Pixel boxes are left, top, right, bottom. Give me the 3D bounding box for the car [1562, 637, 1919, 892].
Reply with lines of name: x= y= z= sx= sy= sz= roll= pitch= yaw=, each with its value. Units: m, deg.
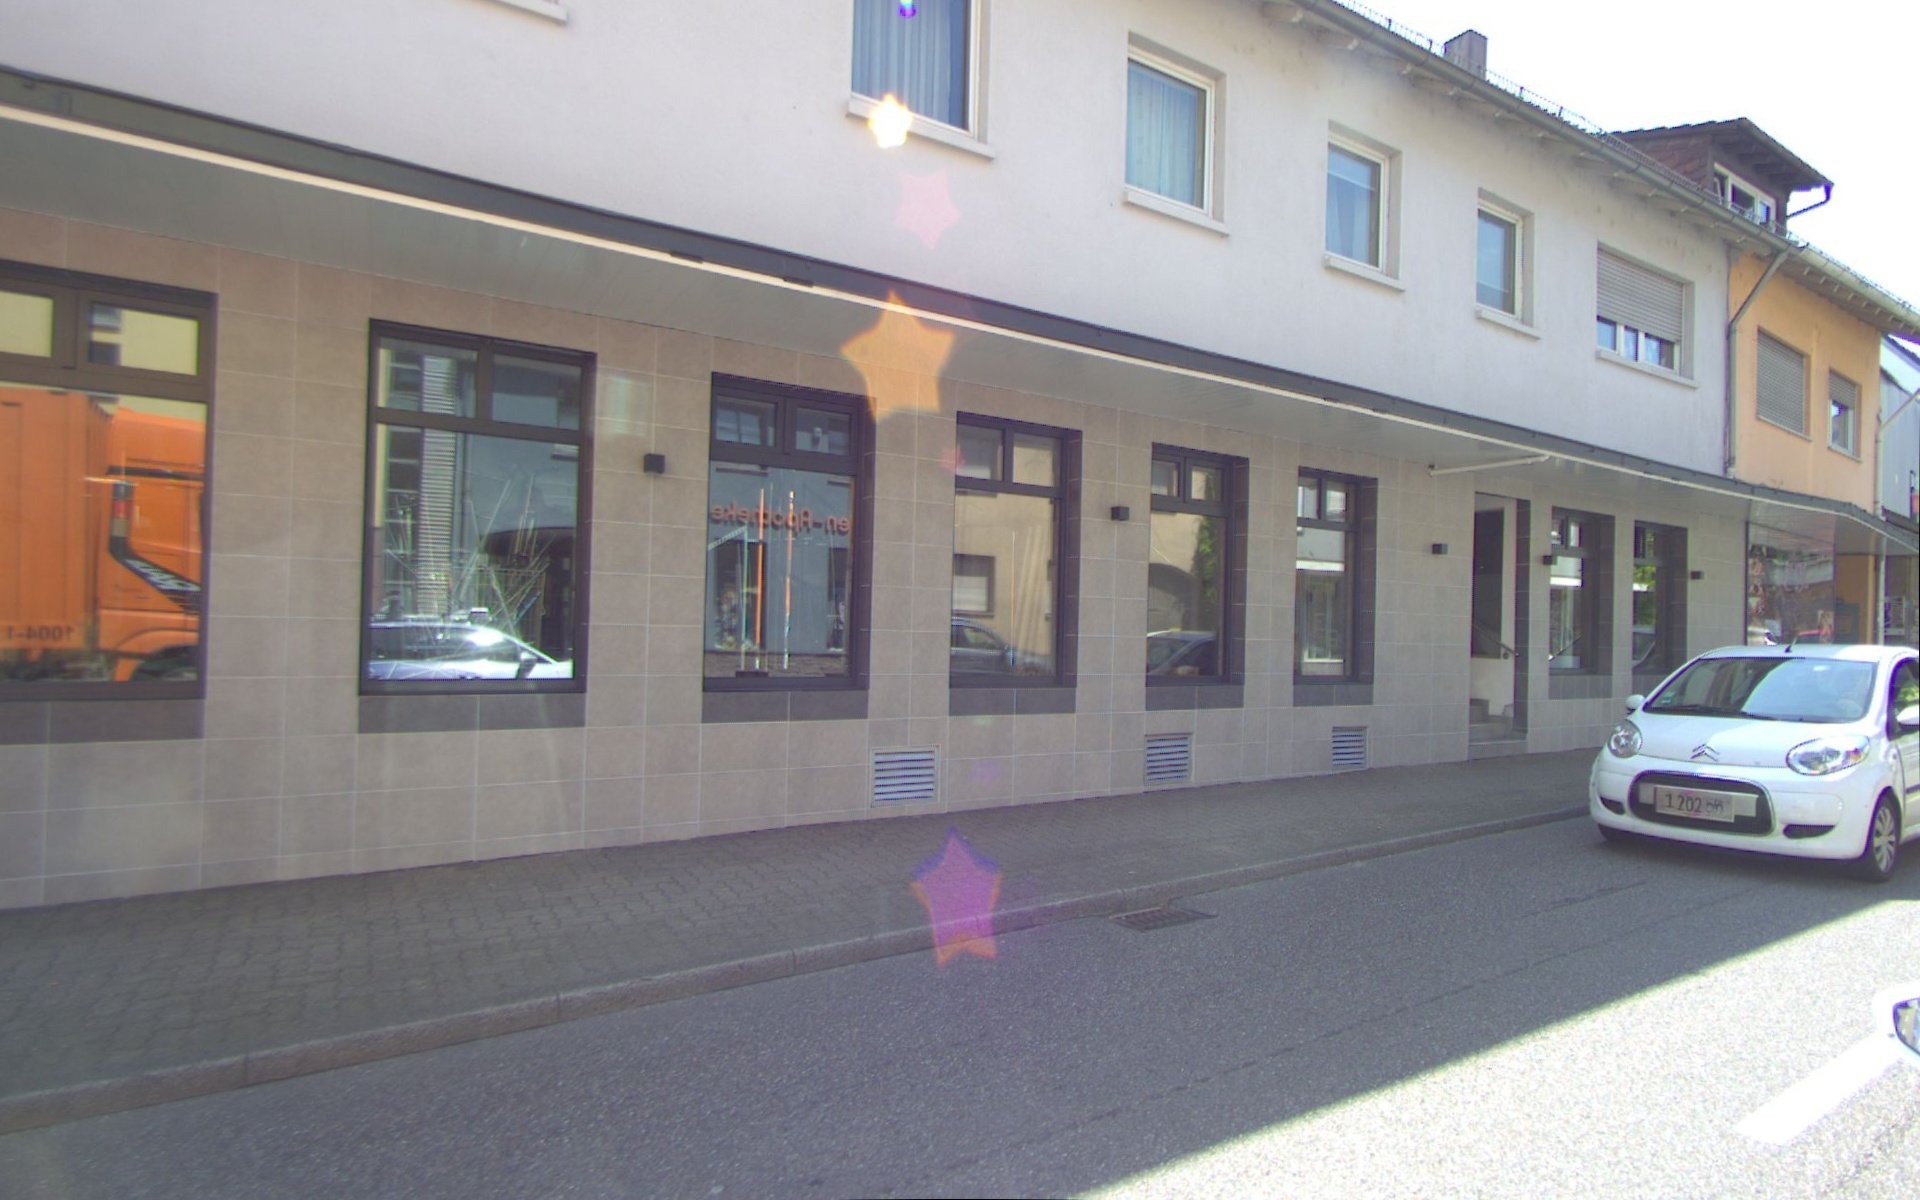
car: x=6.158 y=1.027 z=7.430 sx=3.410 sy=1.474 sz=1.588 roll=2 pitch=-3 yaw=-33
